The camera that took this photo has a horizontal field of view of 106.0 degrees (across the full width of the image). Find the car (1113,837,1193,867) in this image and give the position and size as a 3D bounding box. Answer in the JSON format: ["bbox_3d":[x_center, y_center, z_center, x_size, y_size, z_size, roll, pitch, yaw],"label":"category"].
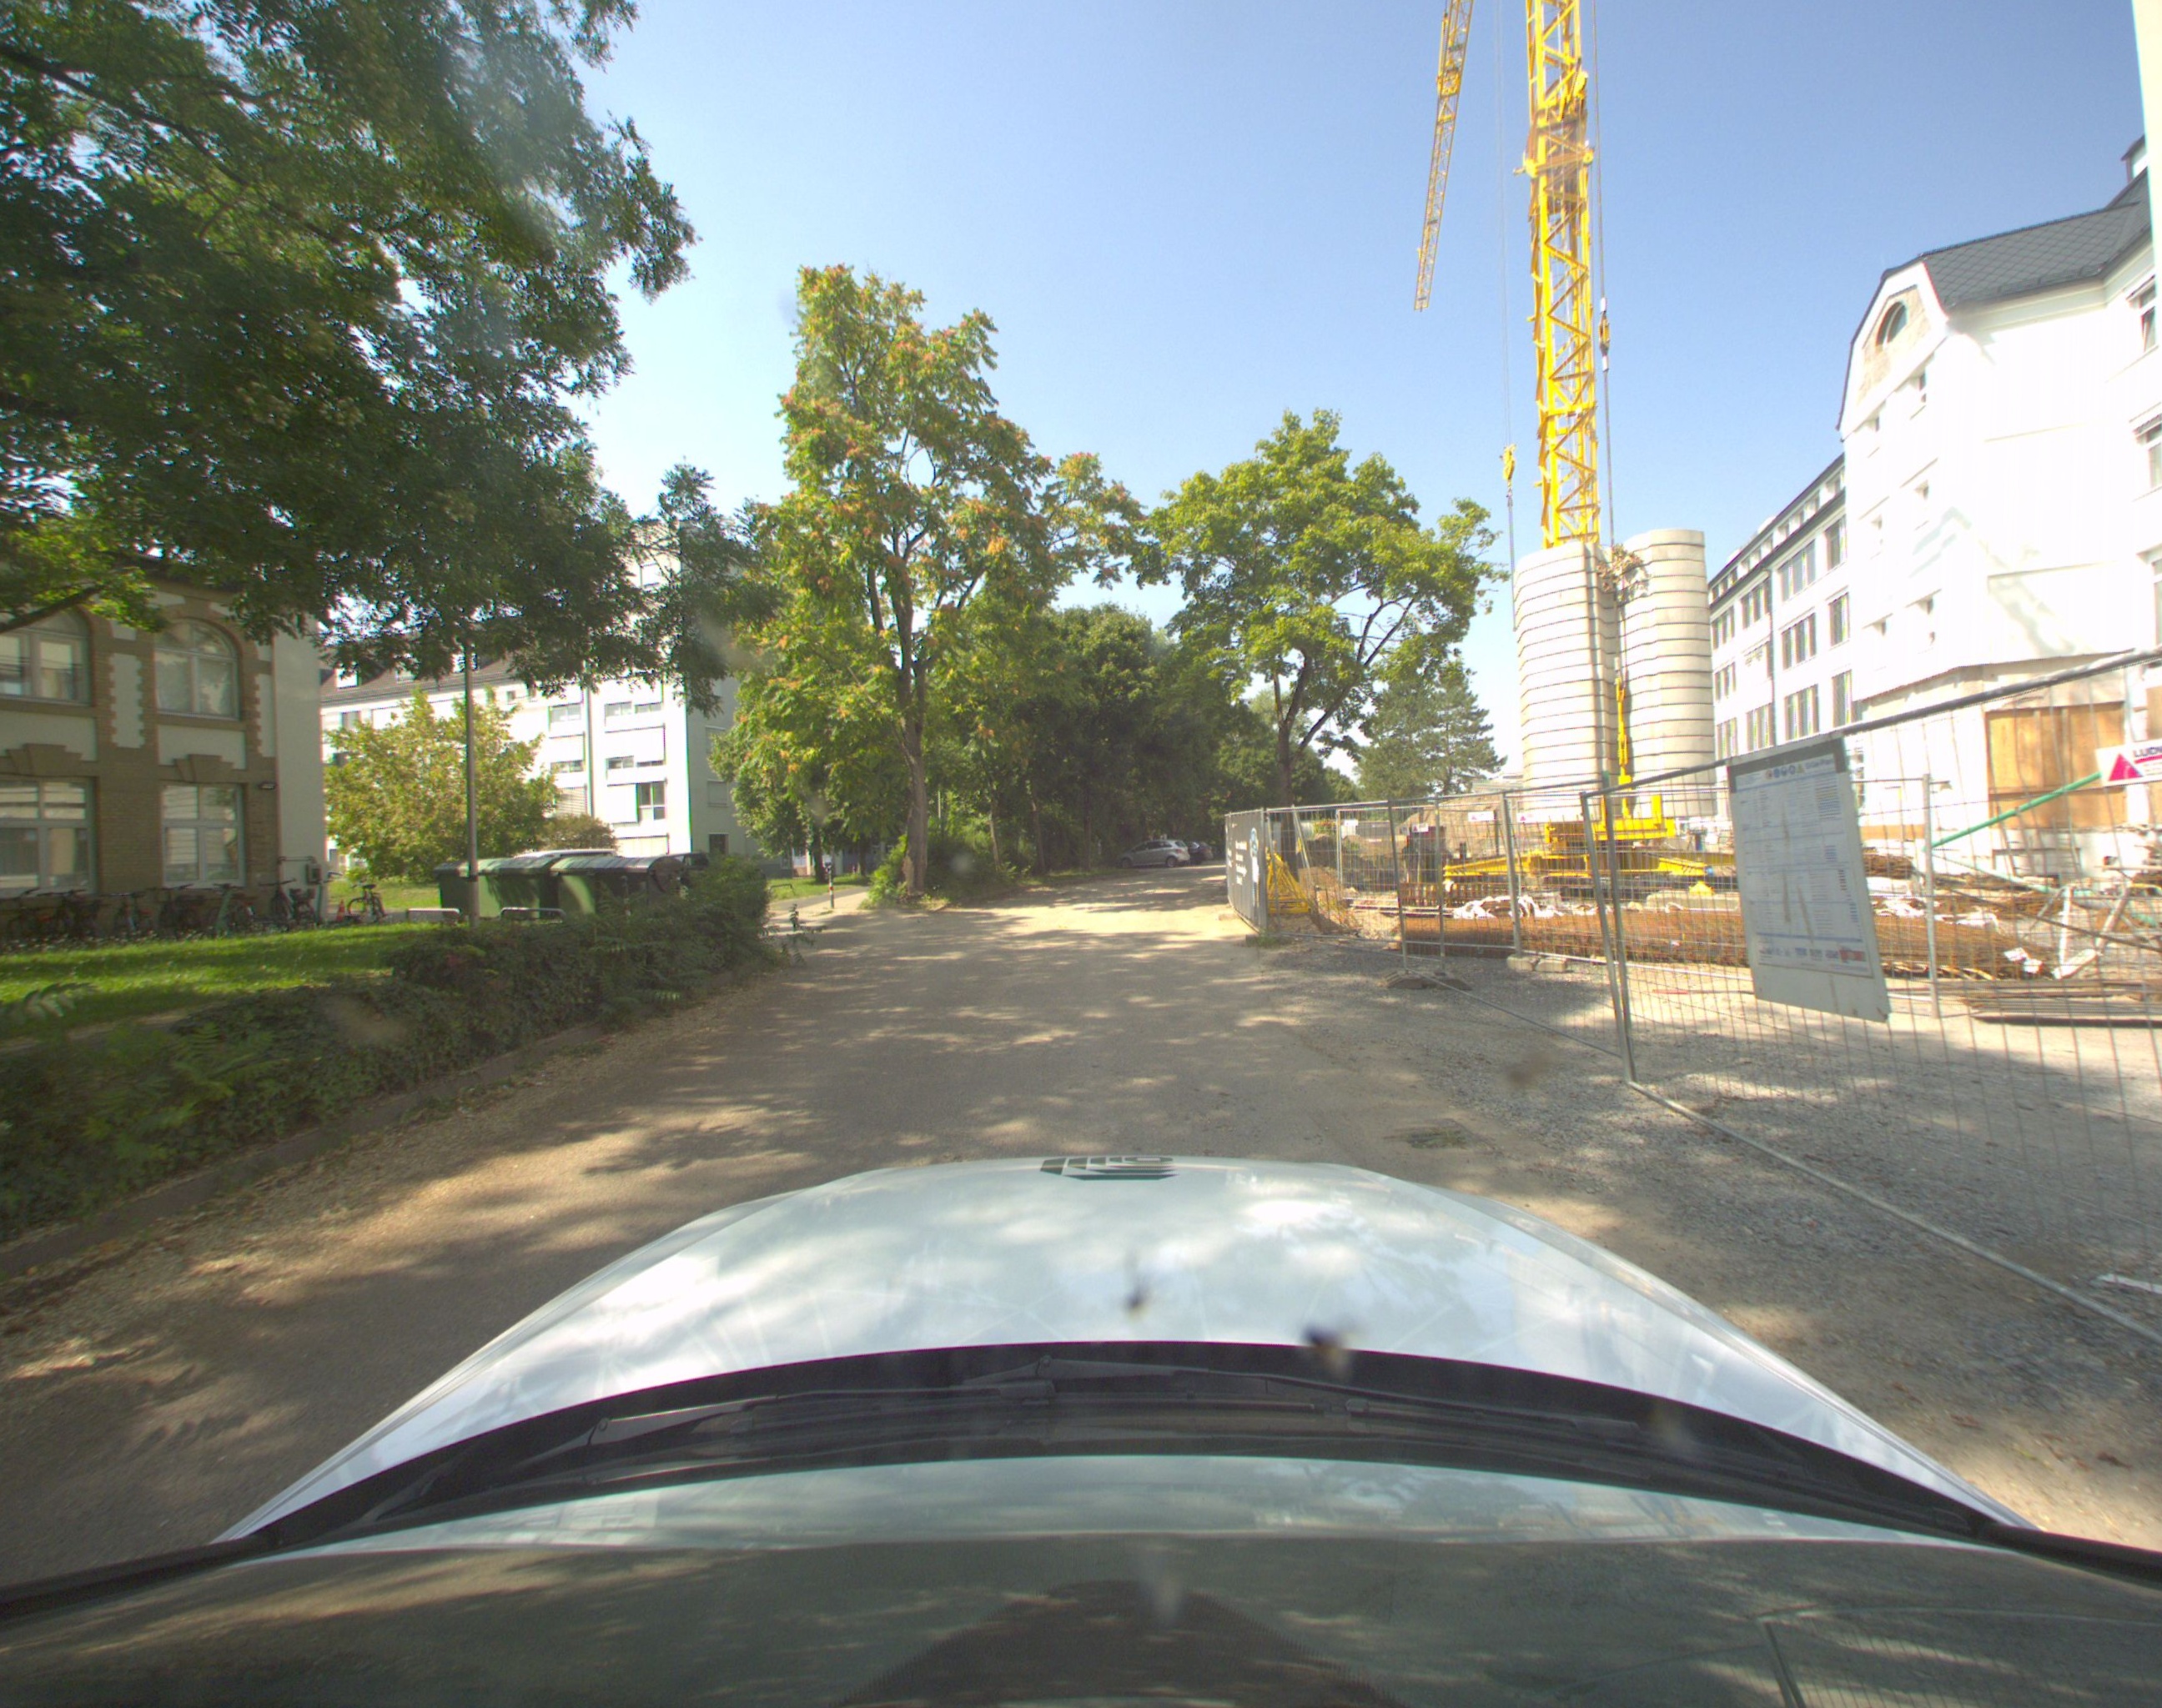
[{"bbox_3d":[4.153,-0.095,46.765,4.110,1.612,2.012,-1,1,24],"label":"car"}]

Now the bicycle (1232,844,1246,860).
[{"bbox_3d":[11.837,-0.168,61.119,0.494,1.107,1.811,-1,1,28],"label":"bicycle"}]

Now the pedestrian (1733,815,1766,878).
[{"bbox_3d":[16.358,-0.181,19.940,0.517,1.528,0.498,-2,0,32],"label":"pedestrian"}]

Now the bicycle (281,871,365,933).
[{"bbox_3d":[-16.831,1.074,18.074,2.146,1.302,0.613,-3,0,27],"label":"bicycle"}]

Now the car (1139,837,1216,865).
[{"bbox_3d":[5.801,-0.170,48.967,4.110,1.612,2.012,-1,1,24],"label":"car"}]

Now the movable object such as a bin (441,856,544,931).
[{"bbox_3d":[-12.288,0.801,17.046,1.193,1.495,1.255,-1,0,17],"label":"movable object such as a bin"}]

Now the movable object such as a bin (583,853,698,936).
[{"bbox_3d":[-8.372,0.741,15.548,1.360,1.493,1.339,-1,0,9],"label":"movable object such as a bin"}]

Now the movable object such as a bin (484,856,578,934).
[{"bbox_3d":[-11.043,0.796,16.383,1.089,1.481,1.106,-1,0,17],"label":"movable object such as a bin"}]

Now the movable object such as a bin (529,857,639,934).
[{"bbox_3d":[-9.829,0.794,16.148,1.317,1.431,1.255,-1,0,17],"label":"movable object such as a bin"}]

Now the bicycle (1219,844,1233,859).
[{"bbox_3d":[11.362,-0.174,63.786,0.494,1.107,1.811,-1,1,28],"label":"bicycle"}]

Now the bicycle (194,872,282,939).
[{"bbox_3d":[-17.419,1.069,16.823,2.146,1.302,0.613,-3,0,27],"label":"bicycle"}]

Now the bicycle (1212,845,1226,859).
[{"bbox_3d":[10.865,-0.153,63.988,0.494,1.107,1.811,-1,1,28],"label":"bicycle"}]

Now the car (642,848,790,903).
[{"bbox_3d":[-11.290,0.628,25.468,1.685,1.527,3.937,-2,1,30],"label":"car"}]

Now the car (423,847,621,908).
[{"bbox_3d":[-19.444,0.752,28.629,2.471,1.881,5.115,-2,1,26],"label":"car"}]

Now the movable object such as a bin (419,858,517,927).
[{"bbox_3d":[-13.655,0.836,18.169,1.193,1.444,1.255,-1,0,17],"label":"movable object such as a bin"}]

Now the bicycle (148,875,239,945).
[{"bbox_3d":[-17.623,1.110,16.158,2.146,1.302,0.613,-3,0,27],"label":"bicycle"}]

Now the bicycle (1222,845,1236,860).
[{"bbox_3d":[11.265,-0.135,61.808,0.494,1.107,1.811,-1,1,28],"label":"bicycle"}]

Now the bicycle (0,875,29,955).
[{"bbox_3d":[-18.735,1.053,13.842,2.146,1.302,0.613,-3,0,27],"label":"bicycle"}]

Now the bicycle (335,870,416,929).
[{"bbox_3d":[-16.497,1.059,19.024,2.146,1.302,0.613,-3,0,27],"label":"bicycle"}]

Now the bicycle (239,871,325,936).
[{"bbox_3d":[-17.131,1.065,17.454,2.146,1.302,0.613,-3,0,27],"label":"bicycle"}]

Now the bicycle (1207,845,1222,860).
[{"bbox_3d":[10.169,-0.121,61.972,0.494,1.107,1.811,-1,1,28],"label":"bicycle"}]

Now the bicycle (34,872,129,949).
[{"bbox_3d":[-18.220,1.030,14.829,2.146,1.302,0.613,-3,0,27],"label":"bicycle"}]

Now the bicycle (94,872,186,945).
[{"bbox_3d":[-18.019,1.034,15.583,2.146,1.302,0.613,-3,0,27],"label":"bicycle"}]
